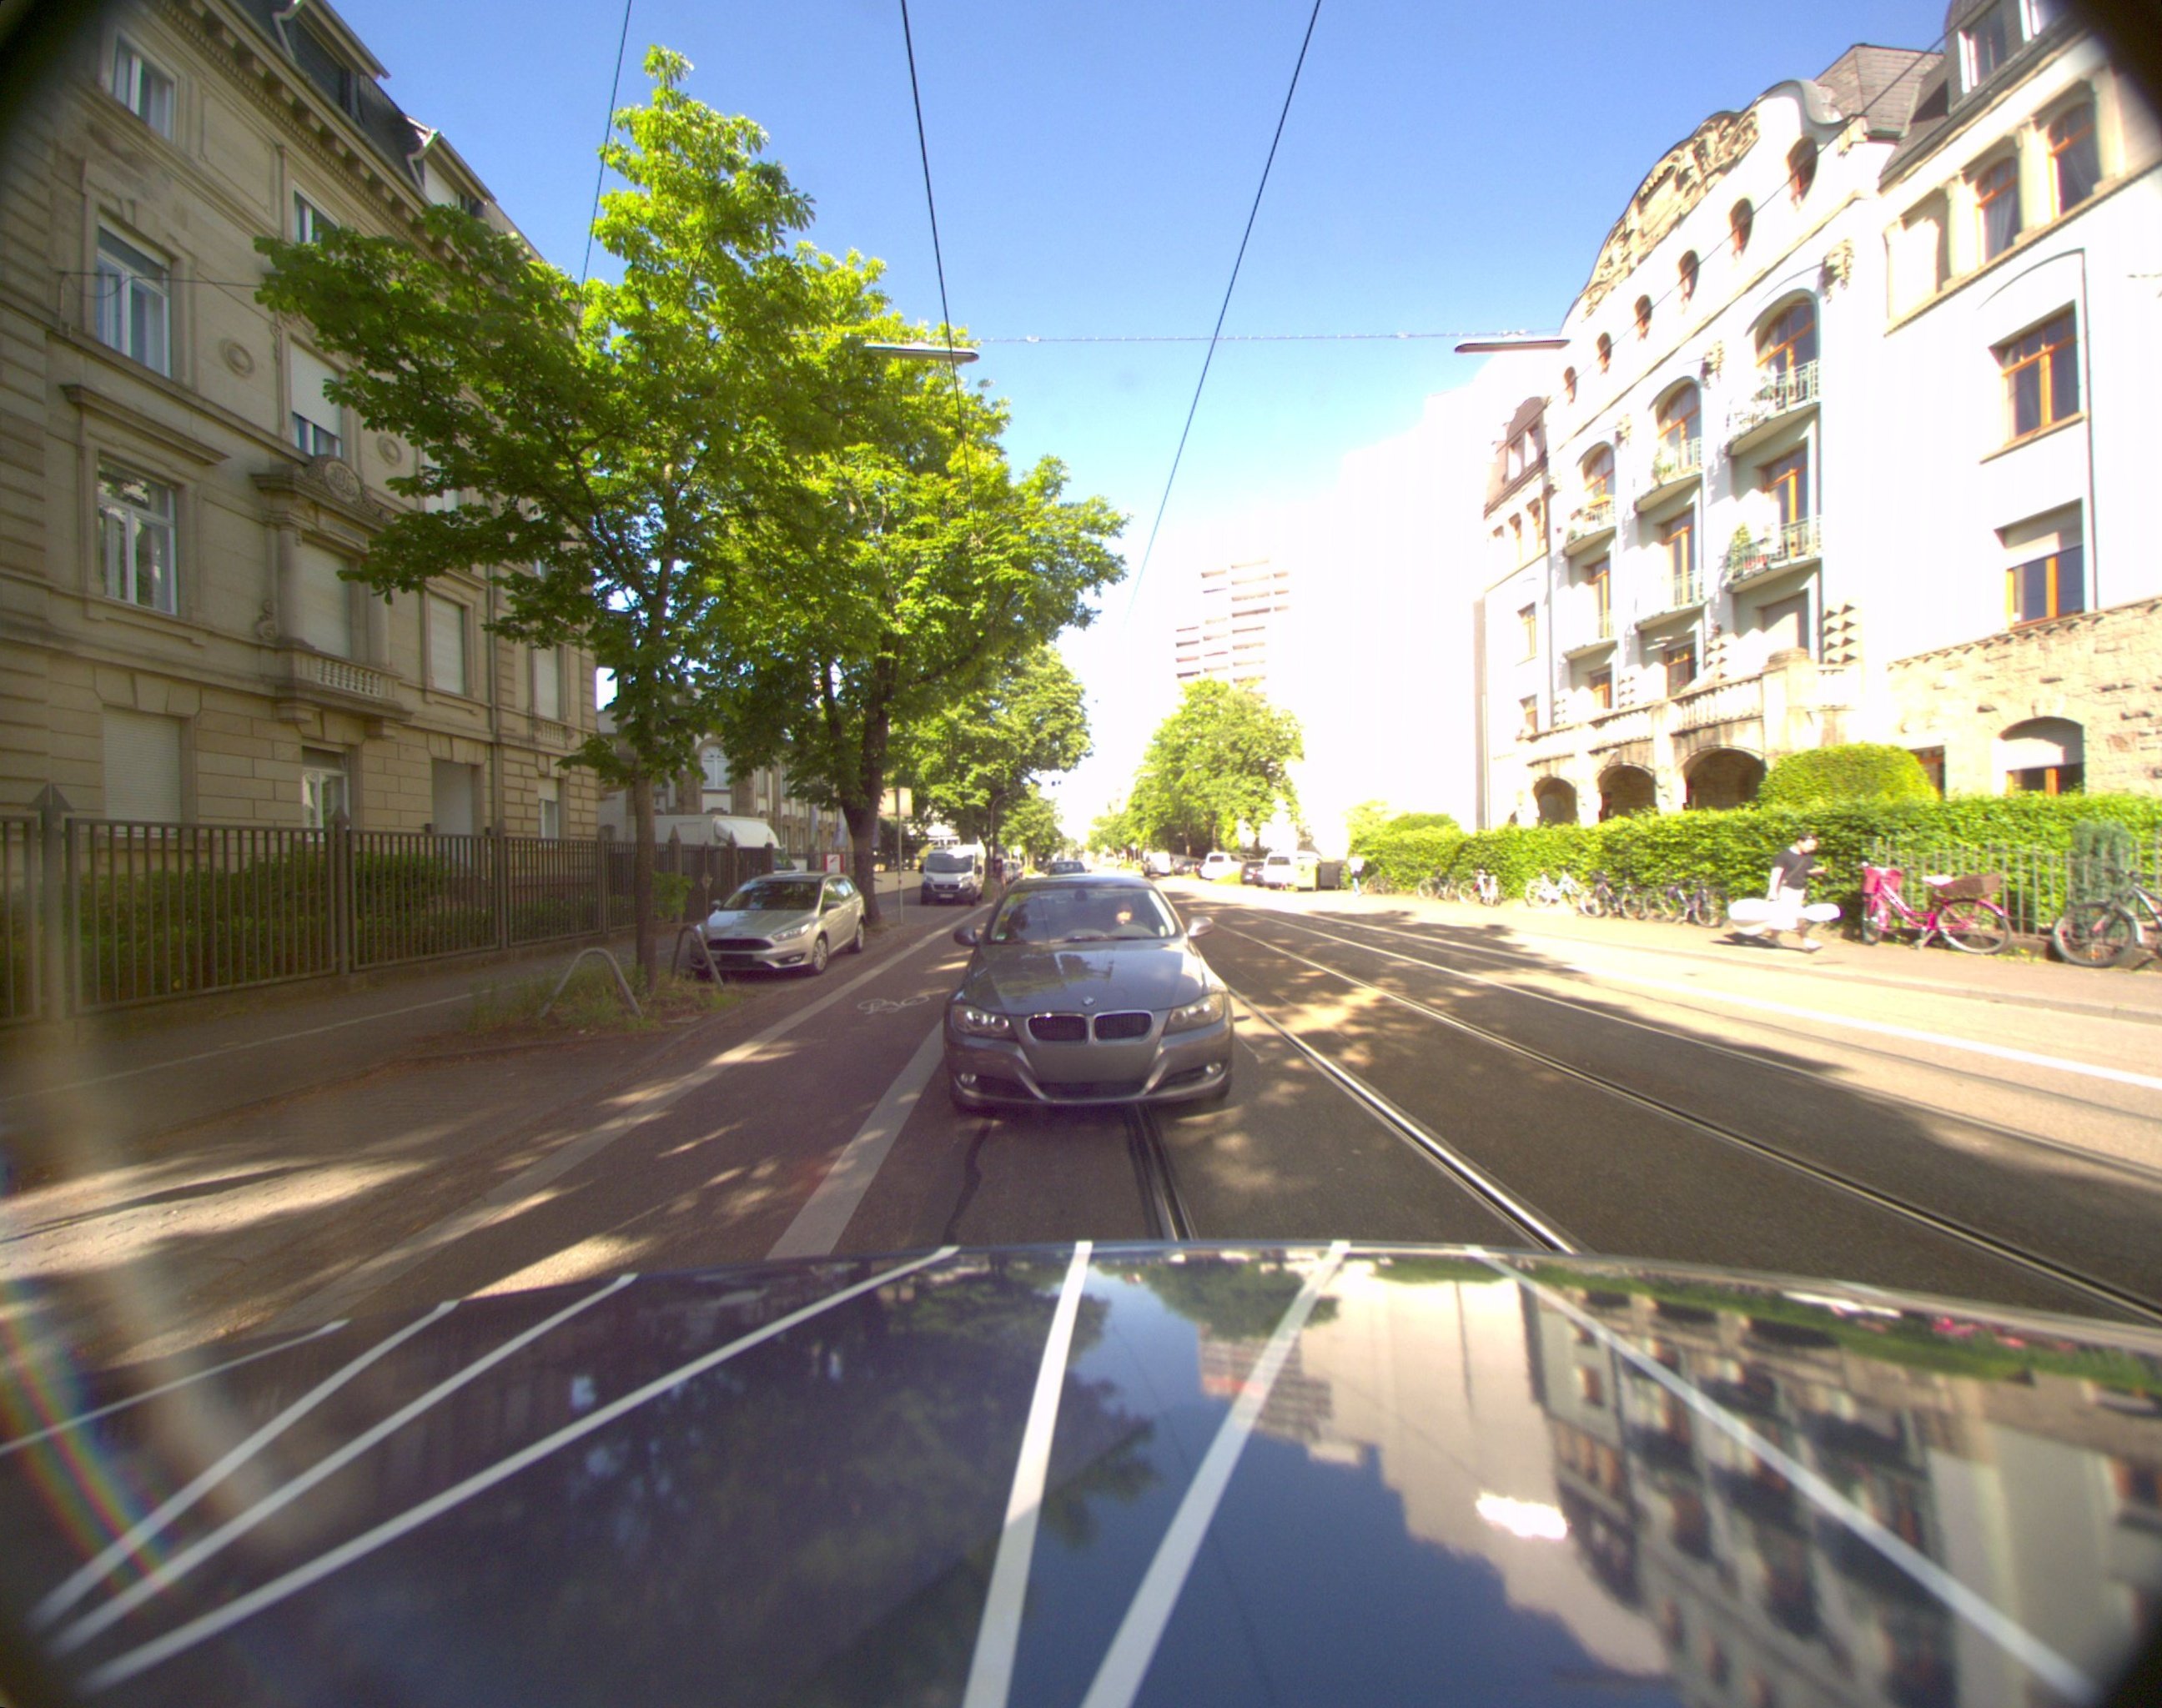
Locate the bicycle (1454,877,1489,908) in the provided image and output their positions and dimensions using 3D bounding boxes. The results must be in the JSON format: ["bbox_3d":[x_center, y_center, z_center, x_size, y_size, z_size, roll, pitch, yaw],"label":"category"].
[{"bbox_3d":[10.740,1.057,20.909,0.318,0.757,1.263,-2,1,1],"label":"bicycle"}]

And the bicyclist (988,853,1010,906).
[{"bbox_3d":[-2.648,0.827,24.668,0.532,1.660,0.878,-2,1,1],"label":"bicyclist"}]

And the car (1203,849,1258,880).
[{"bbox_3d":[9.898,0.682,50.113,3.450,1.860,1.918,-3,1,-44],"label":"car"}]

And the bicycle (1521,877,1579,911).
[{"bbox_3d":[11.788,1.002,19.101,1.262,0.789,0.297,-2,1,1],"label":"bicycle"}]

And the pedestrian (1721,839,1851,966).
[{"bbox_3d":[9.758,0.642,10.559,0.869,1.619,0.870,-6,1,1],"label":"pedestrian"}]

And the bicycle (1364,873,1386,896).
[{"bbox_3d":[10.630,1.100,27.453,0.297,0.757,1.263,-2,1,1],"label":"bicycle"}]

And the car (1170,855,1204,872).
[{"bbox_3d":[9.706,0.851,69.763,2.757,1.417,1.226,-2,1,-16],"label":"car"}]

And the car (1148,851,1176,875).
[{"bbox_3d":[7.080,0.791,66.146,1.997,1.893,4.003,-2,1,11],"label":"car"}]

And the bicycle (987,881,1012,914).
[{"bbox_3d":[-2.625,1.395,24.635,0.535,0.917,2.057,-2,1,1],"label":"bicycle"}]

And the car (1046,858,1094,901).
[{"bbox_3d":[-0.405,1.017,31.790,1.828,1.559,3.999,-2,1,1],"label":"car"}]

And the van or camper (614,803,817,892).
[{"bbox_3d":[-12.167,-0.138,25.185,6.721,2.612,2.126,-2,1,24],"label":"van or camper"}]

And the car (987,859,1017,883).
[{"bbox_3d":[-5.536,1.185,53.759,1.866,1.541,4.101,-2,1,-3],"label":"car"}]

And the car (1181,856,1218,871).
[{"bbox_3d":[9.764,0.802,62.695,2.757,1.083,1.226,-2,1,-16],"label":"car"}]

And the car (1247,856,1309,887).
[{"bbox_3d":[10.265,0.892,39.655,2.757,1.427,1.458,-2,1,-16],"label":"car"}]

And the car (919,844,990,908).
[{"bbox_3d":[-4.980,0.772,30.779,2.132,2.329,5.803,0,1,-3],"label":"car"}]

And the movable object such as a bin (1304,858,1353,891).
[{"bbox_3d":[11.114,0.902,34.208,1.501,1.309,2.096,-2,1,1],"label":"movable object such as a bin"}]

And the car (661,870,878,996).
[{"bbox_3d":[-4.711,1.092,12.268,1.877,1.534,4.364,0,1,-3],"label":"car"}]

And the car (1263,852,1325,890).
[{"bbox_3d":[10.295,0.811,36.644,3.194,1.763,1.456,1,-2,-45],"label":"car"}]

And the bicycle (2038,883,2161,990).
[{"bbox_3d":[11.069,0.856,7.721,0.405,1.018,1.816,-2,1,1],"label":"bicycle"}]

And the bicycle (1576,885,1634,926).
[{"bbox_3d":[10.964,1.057,15.930,0.339,0.757,1.263,-2,1,1],"label":"bicycle"}]

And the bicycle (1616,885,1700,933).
[{"bbox_3d":[10.914,1.025,14.425,0.405,0.757,1.581,-2,1,1],"label":"bicycle"}]

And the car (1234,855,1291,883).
[{"bbox_3d":[10.262,0.855,43.022,2.757,1.427,1.458,-2,1,-16],"label":"car"}]

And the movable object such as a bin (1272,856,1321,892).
[{"bbox_3d":[9.400,0.847,33.239,1.512,1.424,2.096,-2,1,1],"label":"movable object such as a bin"}]

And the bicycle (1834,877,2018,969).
[{"bbox_3d":[11.009,0.856,9.996,0.405,1.018,1.816,-2,1,1],"label":"bicycle"}]

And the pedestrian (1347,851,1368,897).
[{"bbox_3d":[9.892,0.712,27.232,0.475,1.619,0.659,-2,1,1],"label":"pedestrian"}]

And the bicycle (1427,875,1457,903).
[{"bbox_3d":[10.762,1.044,22.700,0.297,0.757,1.263,-2,1,1],"label":"bicycle"}]

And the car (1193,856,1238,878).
[{"bbox_3d":[9.471,0.909,53.542,2.757,1.427,1.458,-2,1,-16],"label":"car"}]

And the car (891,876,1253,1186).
[{"bbox_3d":[-0.019,1.001,6.032,1.869,1.426,3.999,-2,1,1],"label":"car"}]
